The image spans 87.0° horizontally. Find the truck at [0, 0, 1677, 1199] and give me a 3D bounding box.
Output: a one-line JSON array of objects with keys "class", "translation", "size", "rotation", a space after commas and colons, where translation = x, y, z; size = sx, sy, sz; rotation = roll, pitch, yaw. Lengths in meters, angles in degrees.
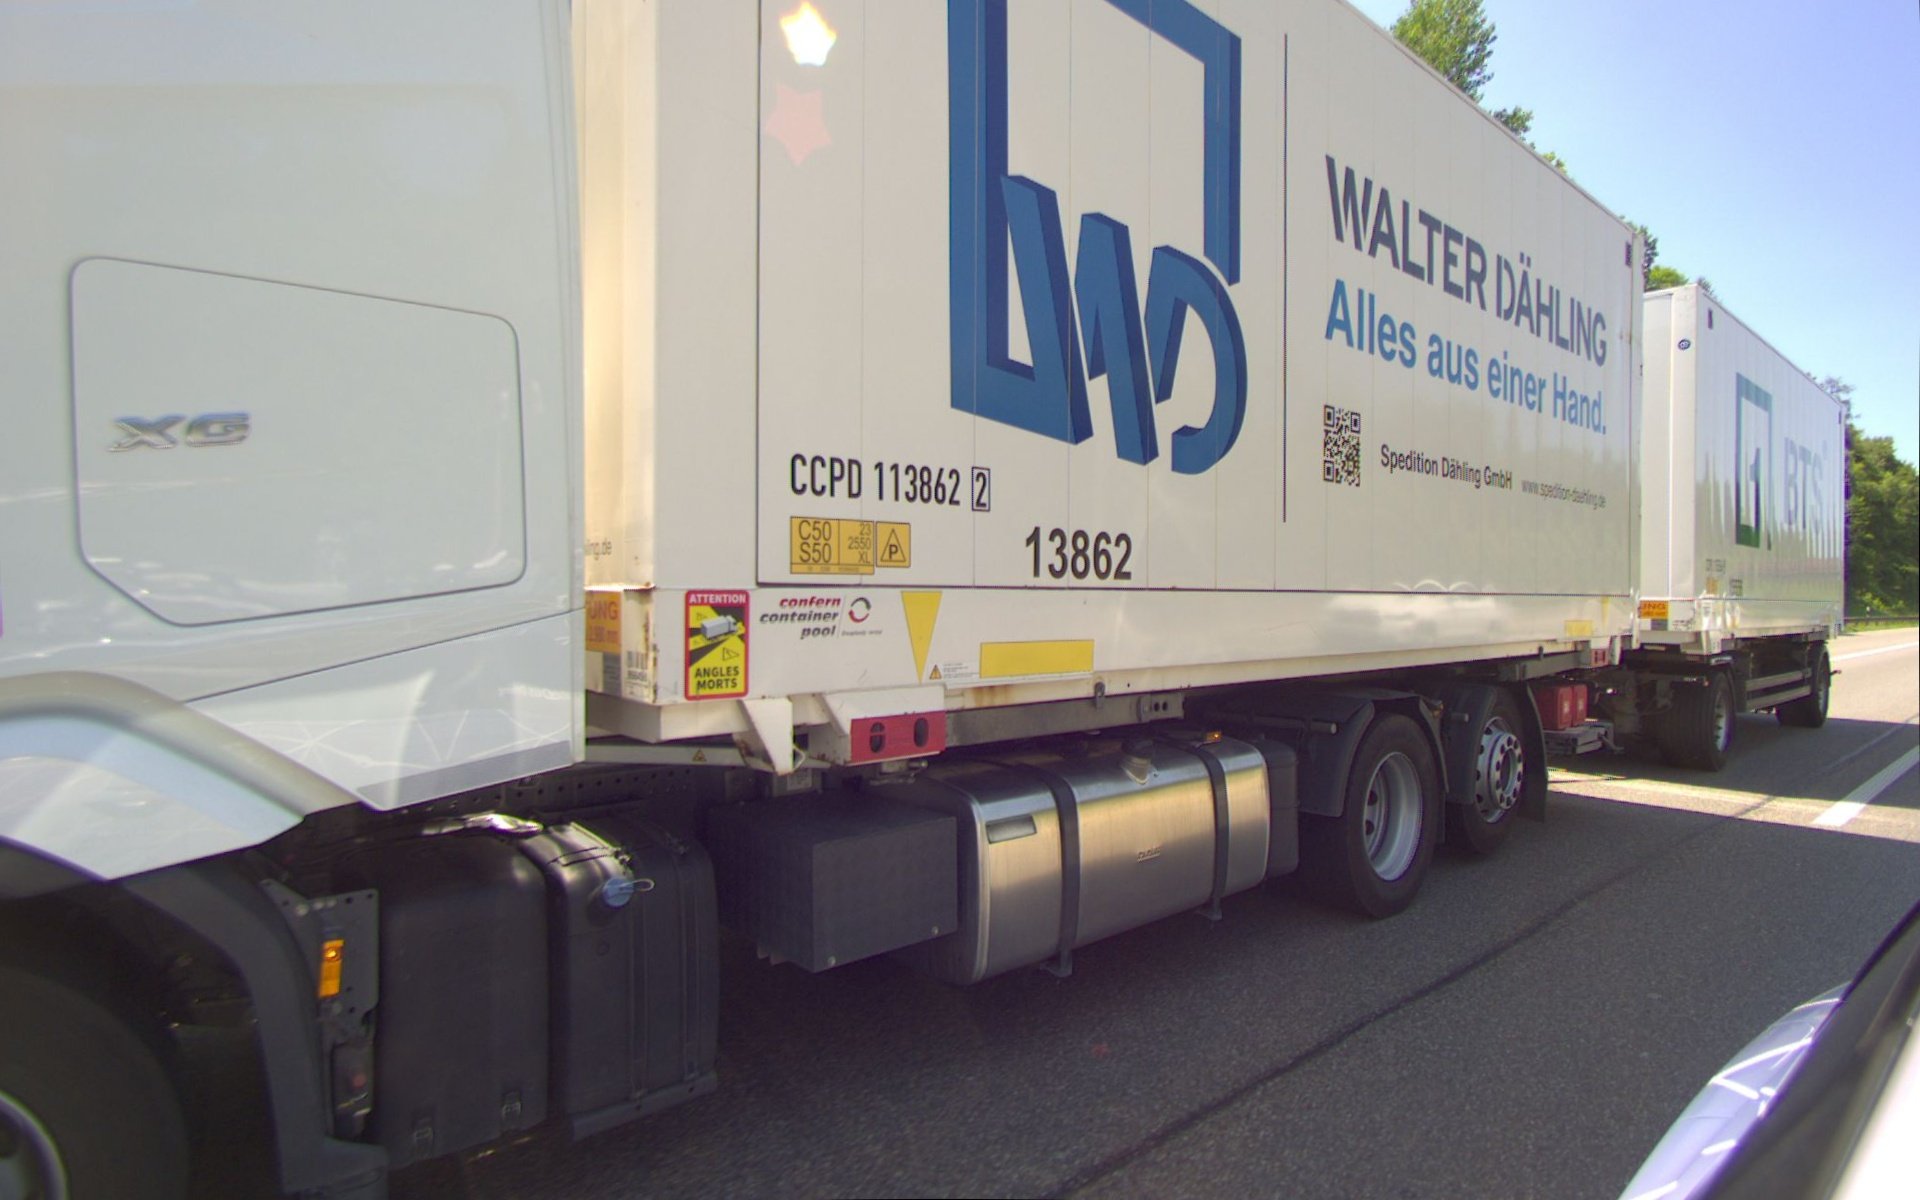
[{"class": "truck", "translation": [0.439, -0.765, 4.932], "size": [10.440, 4.111, 2.684], "rotation": [1, -1, -42]}]

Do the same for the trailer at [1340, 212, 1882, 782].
[{"class": "trailer", "translation": [8.196, -0.697, 11.792], "size": [9.889, 4.229, 2.684], "rotation": [1, -1, -41]}]
